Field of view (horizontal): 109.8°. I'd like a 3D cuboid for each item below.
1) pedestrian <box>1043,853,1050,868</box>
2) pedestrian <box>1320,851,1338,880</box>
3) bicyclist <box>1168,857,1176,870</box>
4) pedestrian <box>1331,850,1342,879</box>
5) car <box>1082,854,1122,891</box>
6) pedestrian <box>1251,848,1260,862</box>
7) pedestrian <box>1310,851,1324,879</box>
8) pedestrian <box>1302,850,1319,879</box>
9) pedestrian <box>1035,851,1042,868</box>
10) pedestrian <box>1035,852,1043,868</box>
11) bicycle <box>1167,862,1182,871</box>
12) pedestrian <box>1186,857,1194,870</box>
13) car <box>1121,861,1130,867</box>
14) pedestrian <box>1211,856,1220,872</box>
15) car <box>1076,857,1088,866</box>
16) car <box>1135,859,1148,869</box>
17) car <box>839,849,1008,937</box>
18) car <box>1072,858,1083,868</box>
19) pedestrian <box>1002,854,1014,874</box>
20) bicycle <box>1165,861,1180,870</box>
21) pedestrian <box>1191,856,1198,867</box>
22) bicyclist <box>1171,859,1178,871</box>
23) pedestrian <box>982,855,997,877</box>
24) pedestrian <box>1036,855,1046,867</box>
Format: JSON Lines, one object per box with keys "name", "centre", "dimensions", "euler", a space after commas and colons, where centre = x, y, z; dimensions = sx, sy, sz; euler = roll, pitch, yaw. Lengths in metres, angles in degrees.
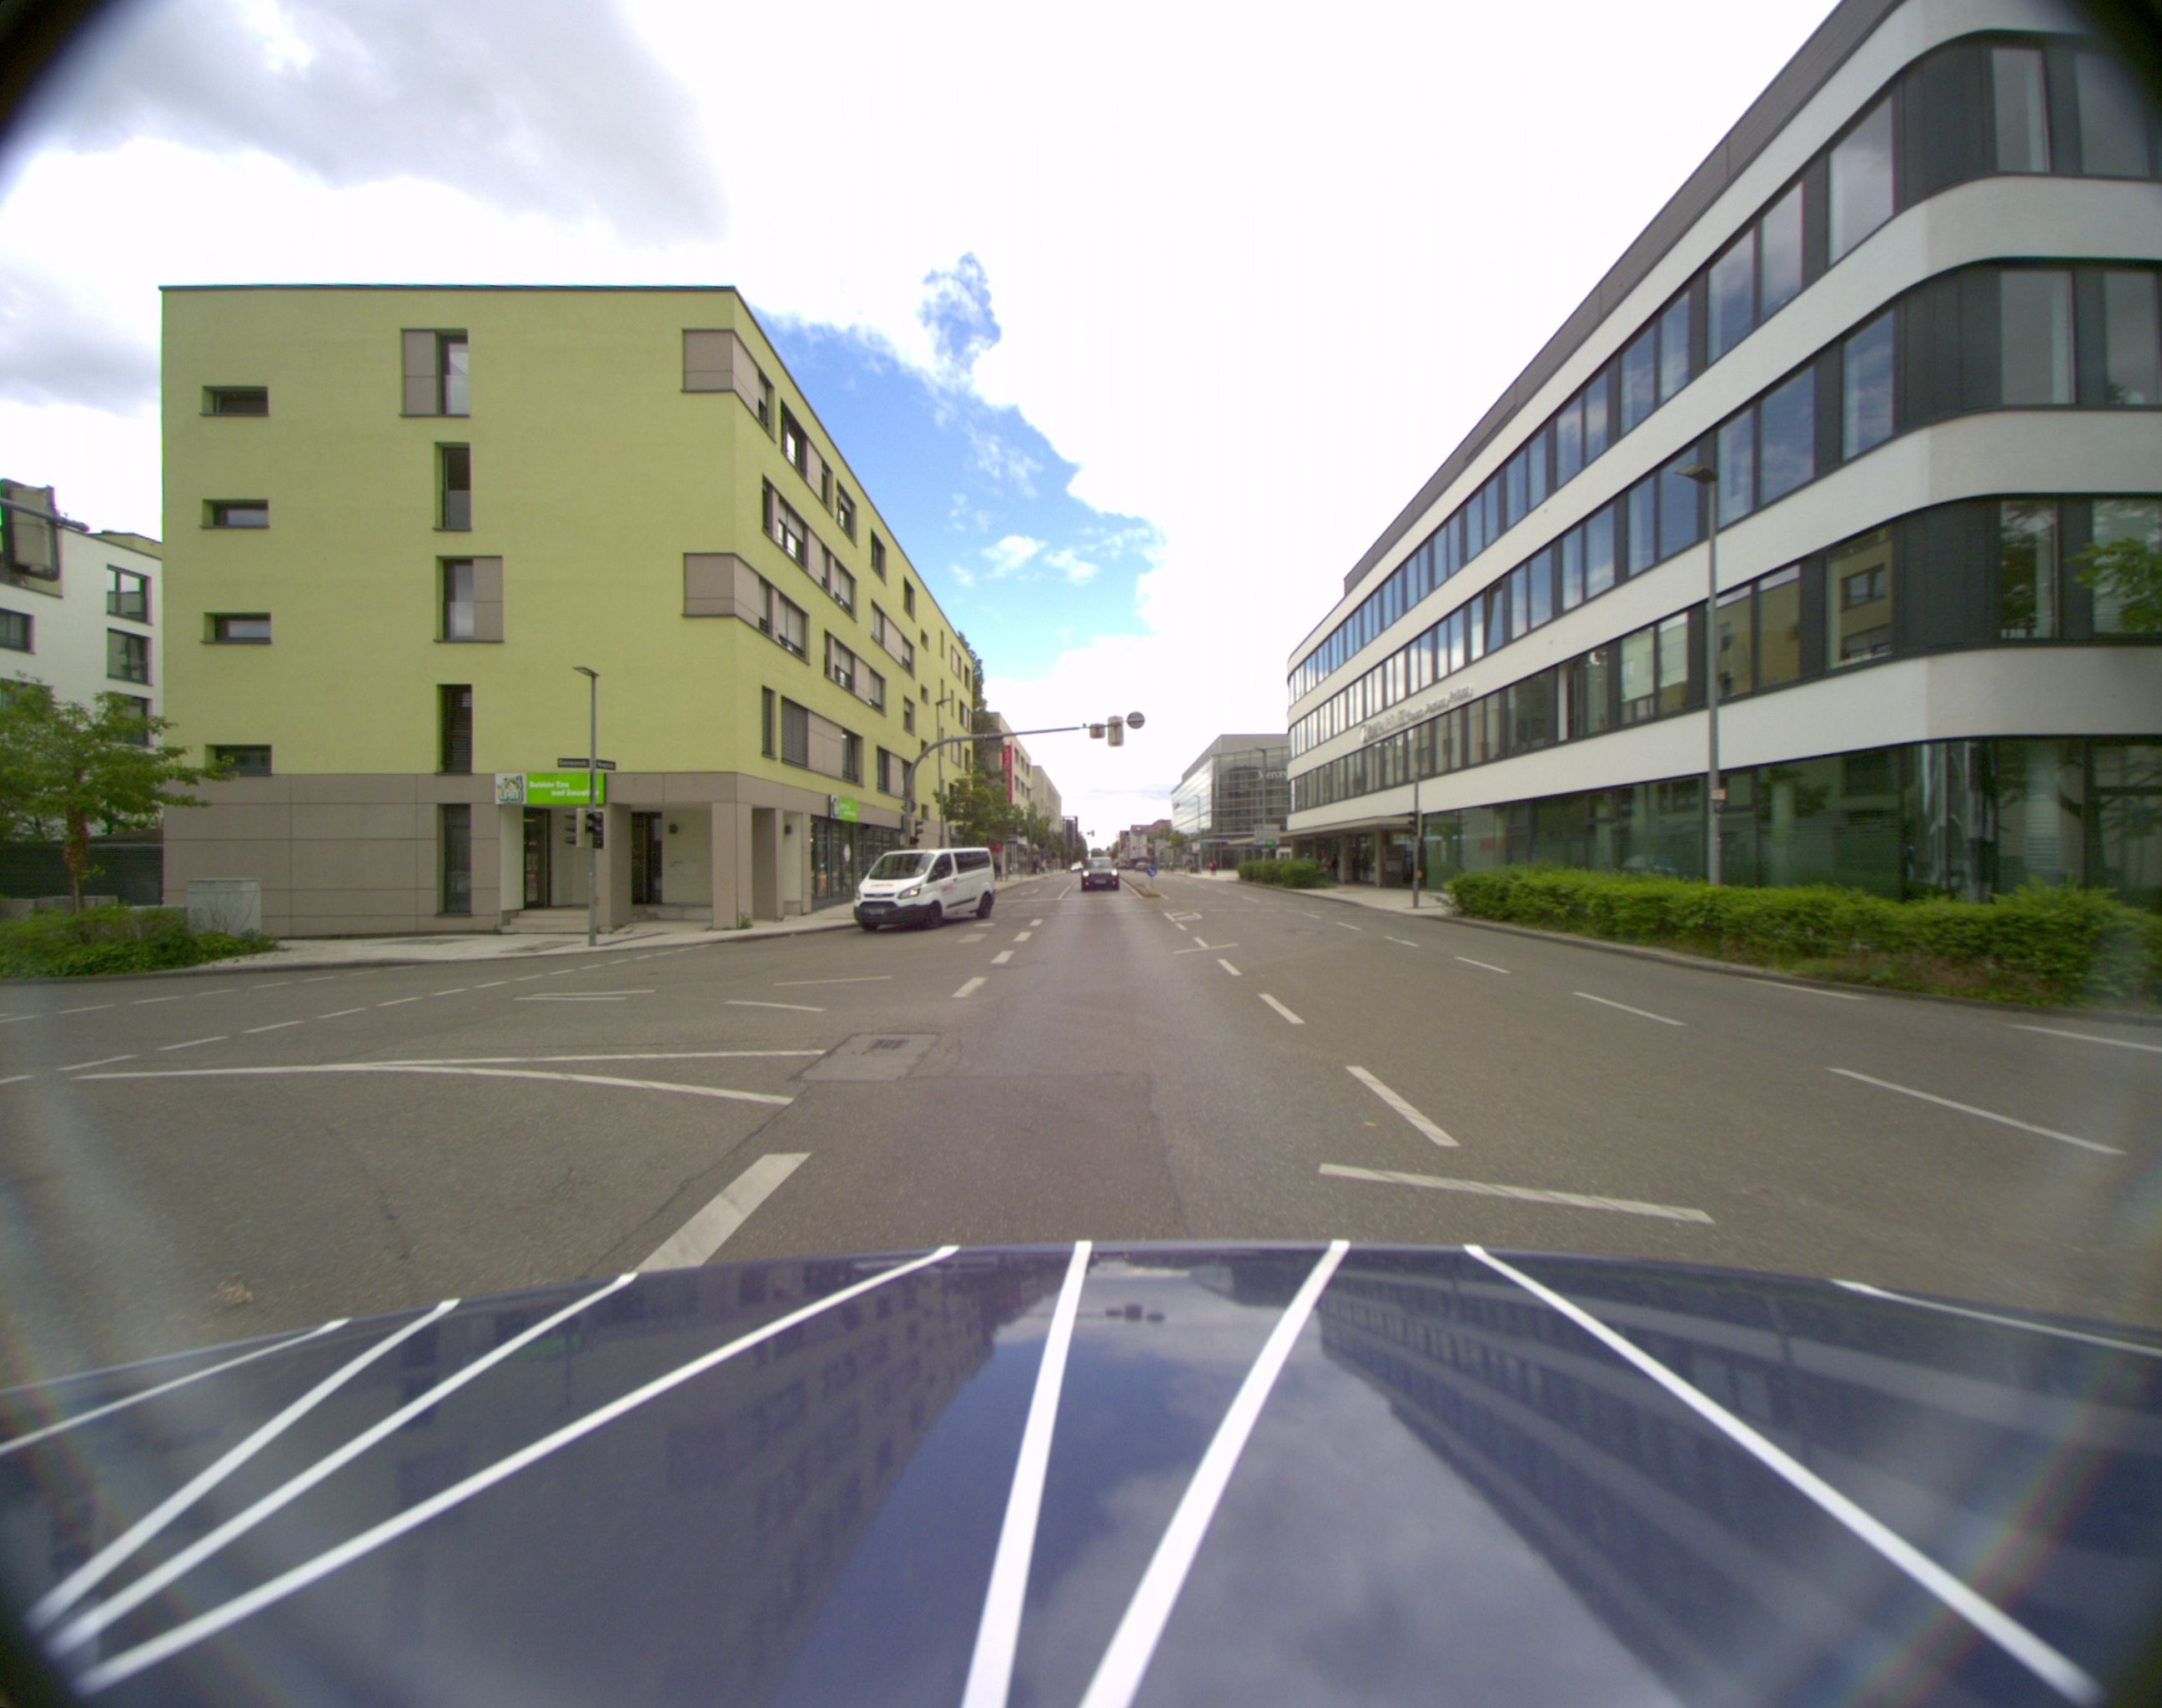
{"name": "pedestrian", "centre": [-3.718, 0.654, 81.393], "dimensions": [0.580, 1.581, 0.733], "euler": [1, 1, 7]}
{"name": "pedestrian", "centre": [14.058, 0.624, 43.129], "dimensions": [0.732, 1.604, 0.931], "euler": [-2, 0, 3]}
{"name": "bicyclist", "centre": [13.461, 1.398, 111.905], "dimensions": [0.749, 1.789, 0.772], "euler": [-3, 0, -44]}
{"name": "pedestrian", "centre": [15.422, 0.632, 45.860], "dimensions": [0.505, 1.719, 0.616], "euler": [0, 1, 33]}
{"name": "car", "centre": [1.059, 0.794, 35.567], "dimensions": [1.691, 1.550, 4.745], "euler": [-2, 0, 3]}
{"name": "pedestrian", "centre": [23.436, 0.157, 101.922], "dimensions": [0.904, 1.934, 0.748], "euler": [-2, 1, -37]}
{"name": "pedestrian", "centre": [14.508, 0.647, 46.658], "dimensions": [0.616, 1.700, 0.505], "euler": [-1, 1, -29]}
{"name": "pedestrian", "centre": [13.225, 0.609, 43.804], "dimensions": [0.732, 1.664, 0.931], "euler": [-2, 0, 3]}
{"name": "pedestrian", "centre": [-4.427, 0.566, 78.844], "dimensions": [0.580, 1.759, 0.857], "euler": [1, 1, 7]}
{"name": "pedestrian", "centre": [-4.270, 0.604, 77.381], "dimensions": [0.722, 1.674, 0.733], "euler": [1, 1, 7]}
{"name": "bicycle", "centre": [13.351, 1.809, 108.956], "dimensions": [2.002, 1.124, 0.639], "euler": [-3, 0, 17]}
{"name": "pedestrian", "centre": [12.982, 1.152, 90.736], "dimensions": [0.688, 1.621, 0.574], "euler": [0, 1, -39]}
{"name": "car", "centre": [10.702, 2.303, 182.985], "dimensions": [1.803, 1.458, 3.999], "euler": [0, 0, -4]}
{"name": "pedestrian", "centre": [13.005, 0.942, 73.481], "dimensions": [0.832, 1.558, 0.813], "euler": [-2, 0, 7]}
{"name": "car", "centre": [0.210, 1.177, 118.868], "dimensions": [1.787, 1.417, 4.514], "euler": [-1, 0, 1]}
{"name": "car", "centre": [9.596, 1.554, 120.458], "dimensions": [1.901, 1.407, 4.471], "euler": [-2, 0, 2]}
{"name": "car", "centre": [-3.918, 0.898, 19.994], "dimensions": [1.997, 1.976, 5.007], "euler": [-2, 0, 19]}
{"name": "car", "centre": [-0.542, 1.537, 126.267], "dimensions": [1.741, 1.533, 4.791], "euler": [-2, 0, 1]}
{"name": "pedestrian", "centre": [-5.816, 0.803, 60.541], "dimensions": [0.871, 1.574, 0.804], "euler": [0, 0, 1]}
{"name": "bicycle", "centre": [13.475, 1.708, 111.905], "dimensions": [0.749, 1.199, 2.025], "euler": [-3, 0, -44]}
{"name": "pedestrian", "centre": [13.231, 0.853, 88.821], "dimensions": [0.686, 1.312, 0.576], "euler": [1, 0, 0]}
{"name": "bicyclist", "centre": [13.370, 1.532, 108.945], "dimensions": [0.783, 1.639, 0.639], "euler": [-3, 0, 17]}
{"name": "pedestrian", "centre": [-6.464, 0.839, 53.736], "dimensions": [0.949, 1.574, 1.016], "euler": [0, 0, 1]}
{"name": "pedestrian", "centre": [-4.221, 0.780, 79.954], "dimensions": [0.945, 1.252, 0.732], "euler": [0, 1, -1]}
